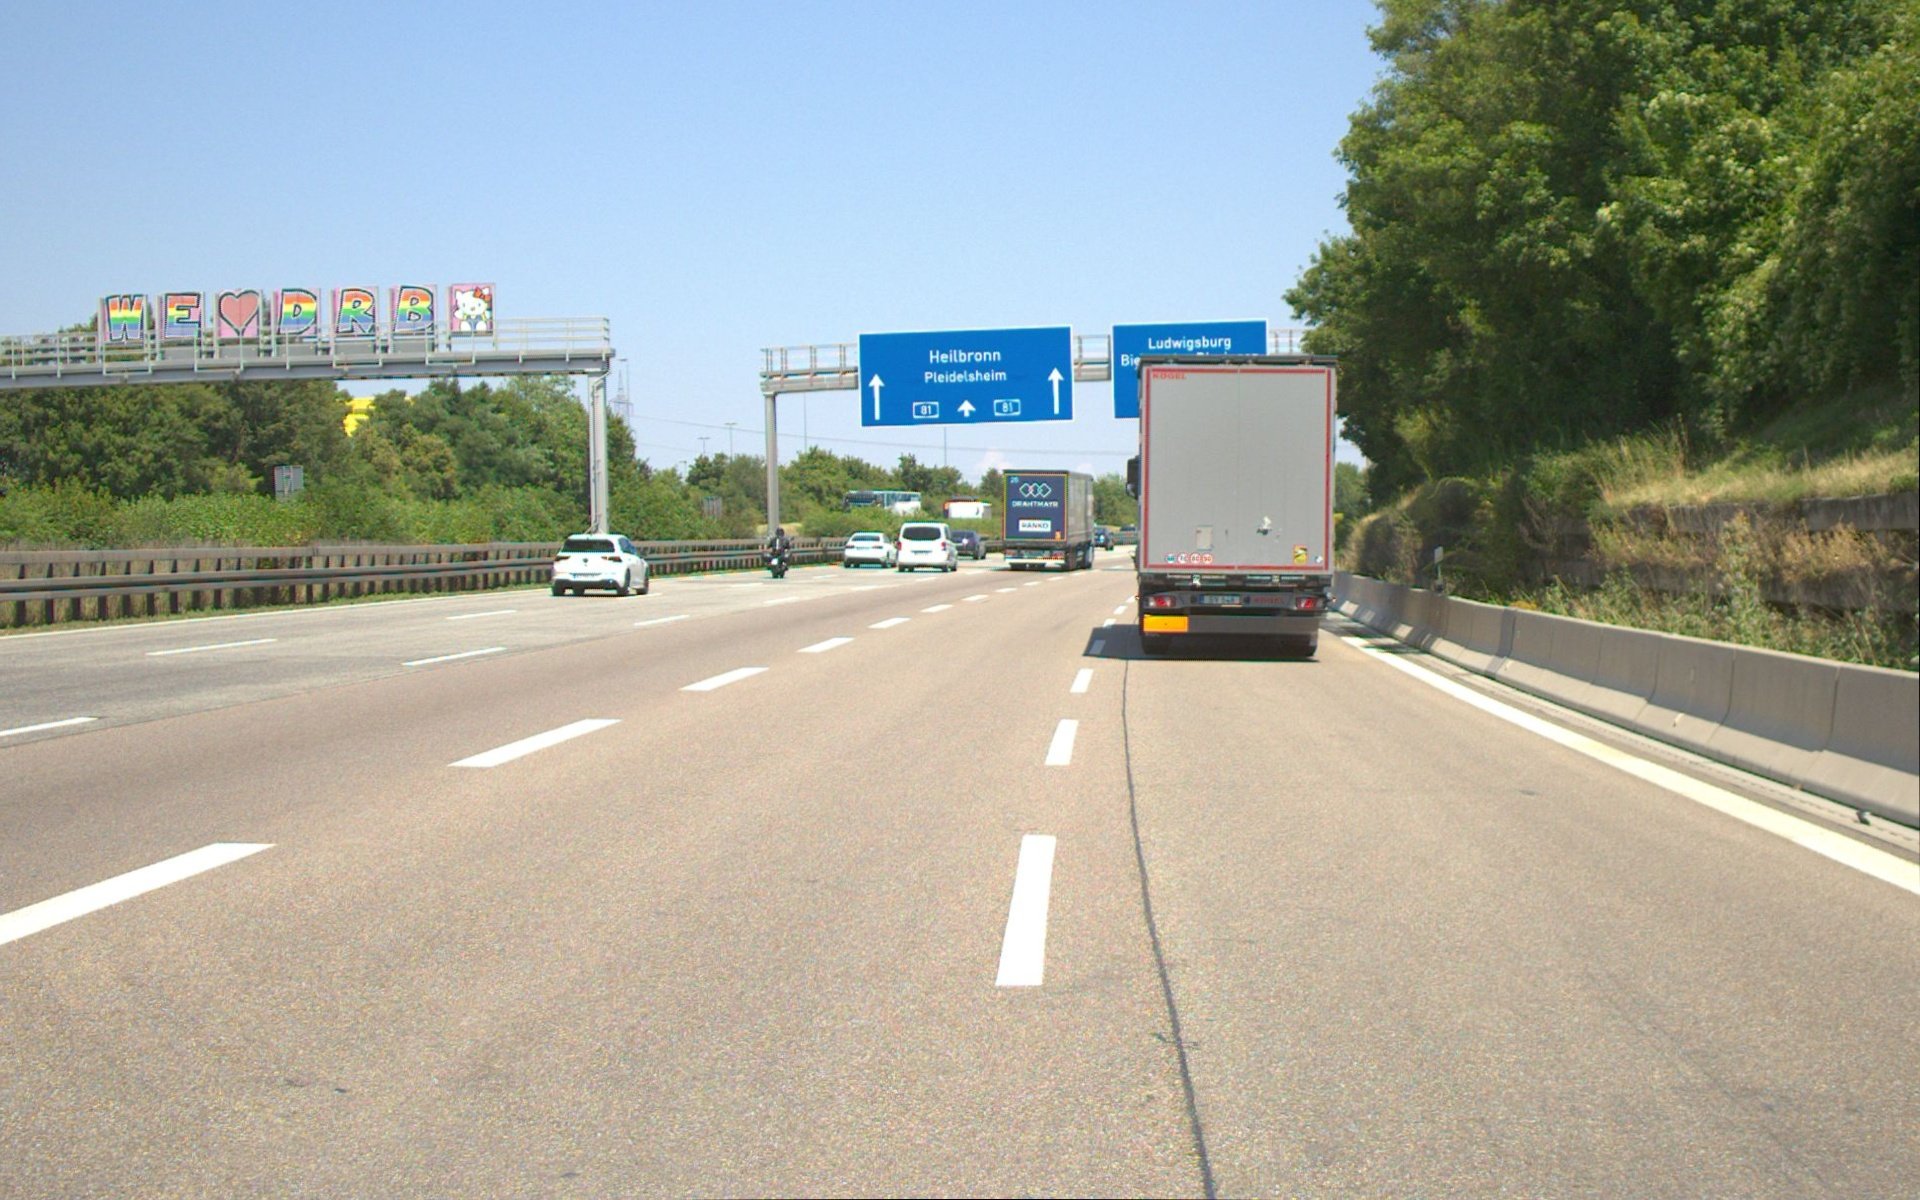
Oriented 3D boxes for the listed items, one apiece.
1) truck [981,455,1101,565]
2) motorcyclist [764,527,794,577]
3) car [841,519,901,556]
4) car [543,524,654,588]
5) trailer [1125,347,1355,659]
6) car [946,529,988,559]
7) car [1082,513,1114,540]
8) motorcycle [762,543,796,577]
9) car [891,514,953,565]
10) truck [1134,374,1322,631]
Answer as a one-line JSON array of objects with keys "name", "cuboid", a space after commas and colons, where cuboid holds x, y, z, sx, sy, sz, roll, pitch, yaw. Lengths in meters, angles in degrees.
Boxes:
[{"name": "truck", "cuboid": [3.459, -3.740, 142.280, 3.748, 4.255, 14.493, 1, 2, 6]}, {"name": "motorcyclist", "cuboid": [-5.867, -1.545, 111.497, 0.893, 1.591, 1.299, 0, 0, 2]}, {"name": "car", "cuboid": [-3.642, -2.542, 141.432, 1.877, 1.435, 5.125, 1, 0, 5]}, {"name": "car", "cuboid": [-8.472, -1.047, 80.957, 1.782, 1.435, 4.668, 1, 1, 4]}, {"name": "trailer", "cuboid": [3.963, -1.459, 50.259, 2.928, 4.001, 12.038, 0, 2, 3]}, {"name": "car", "cuboid": [0.376, -2.835, 174.943, 1.757, 1.404, 5.038, 0, -1, 5]}, {"name": "car", "cuboid": [9.542, -5.063, 237.065, 1.877, 1.777, 5.124, 1, 0, 6]}, {"name": "motorcycle", "cuboid": [-5.865, -1.289, 111.513, 0.913, 1.085, 2.849, 0, 0, 1]}, {"name": "car", "cuboid": [-1.423, -2.319, 131.088, 1.931, 1.845, 4.692, 0, 2, 5]}, {"name": "truck", "cuboid": [4.419, -1.655, 57.562, 2.928, 4.001, 7.583, 0, 2, 3]}]
